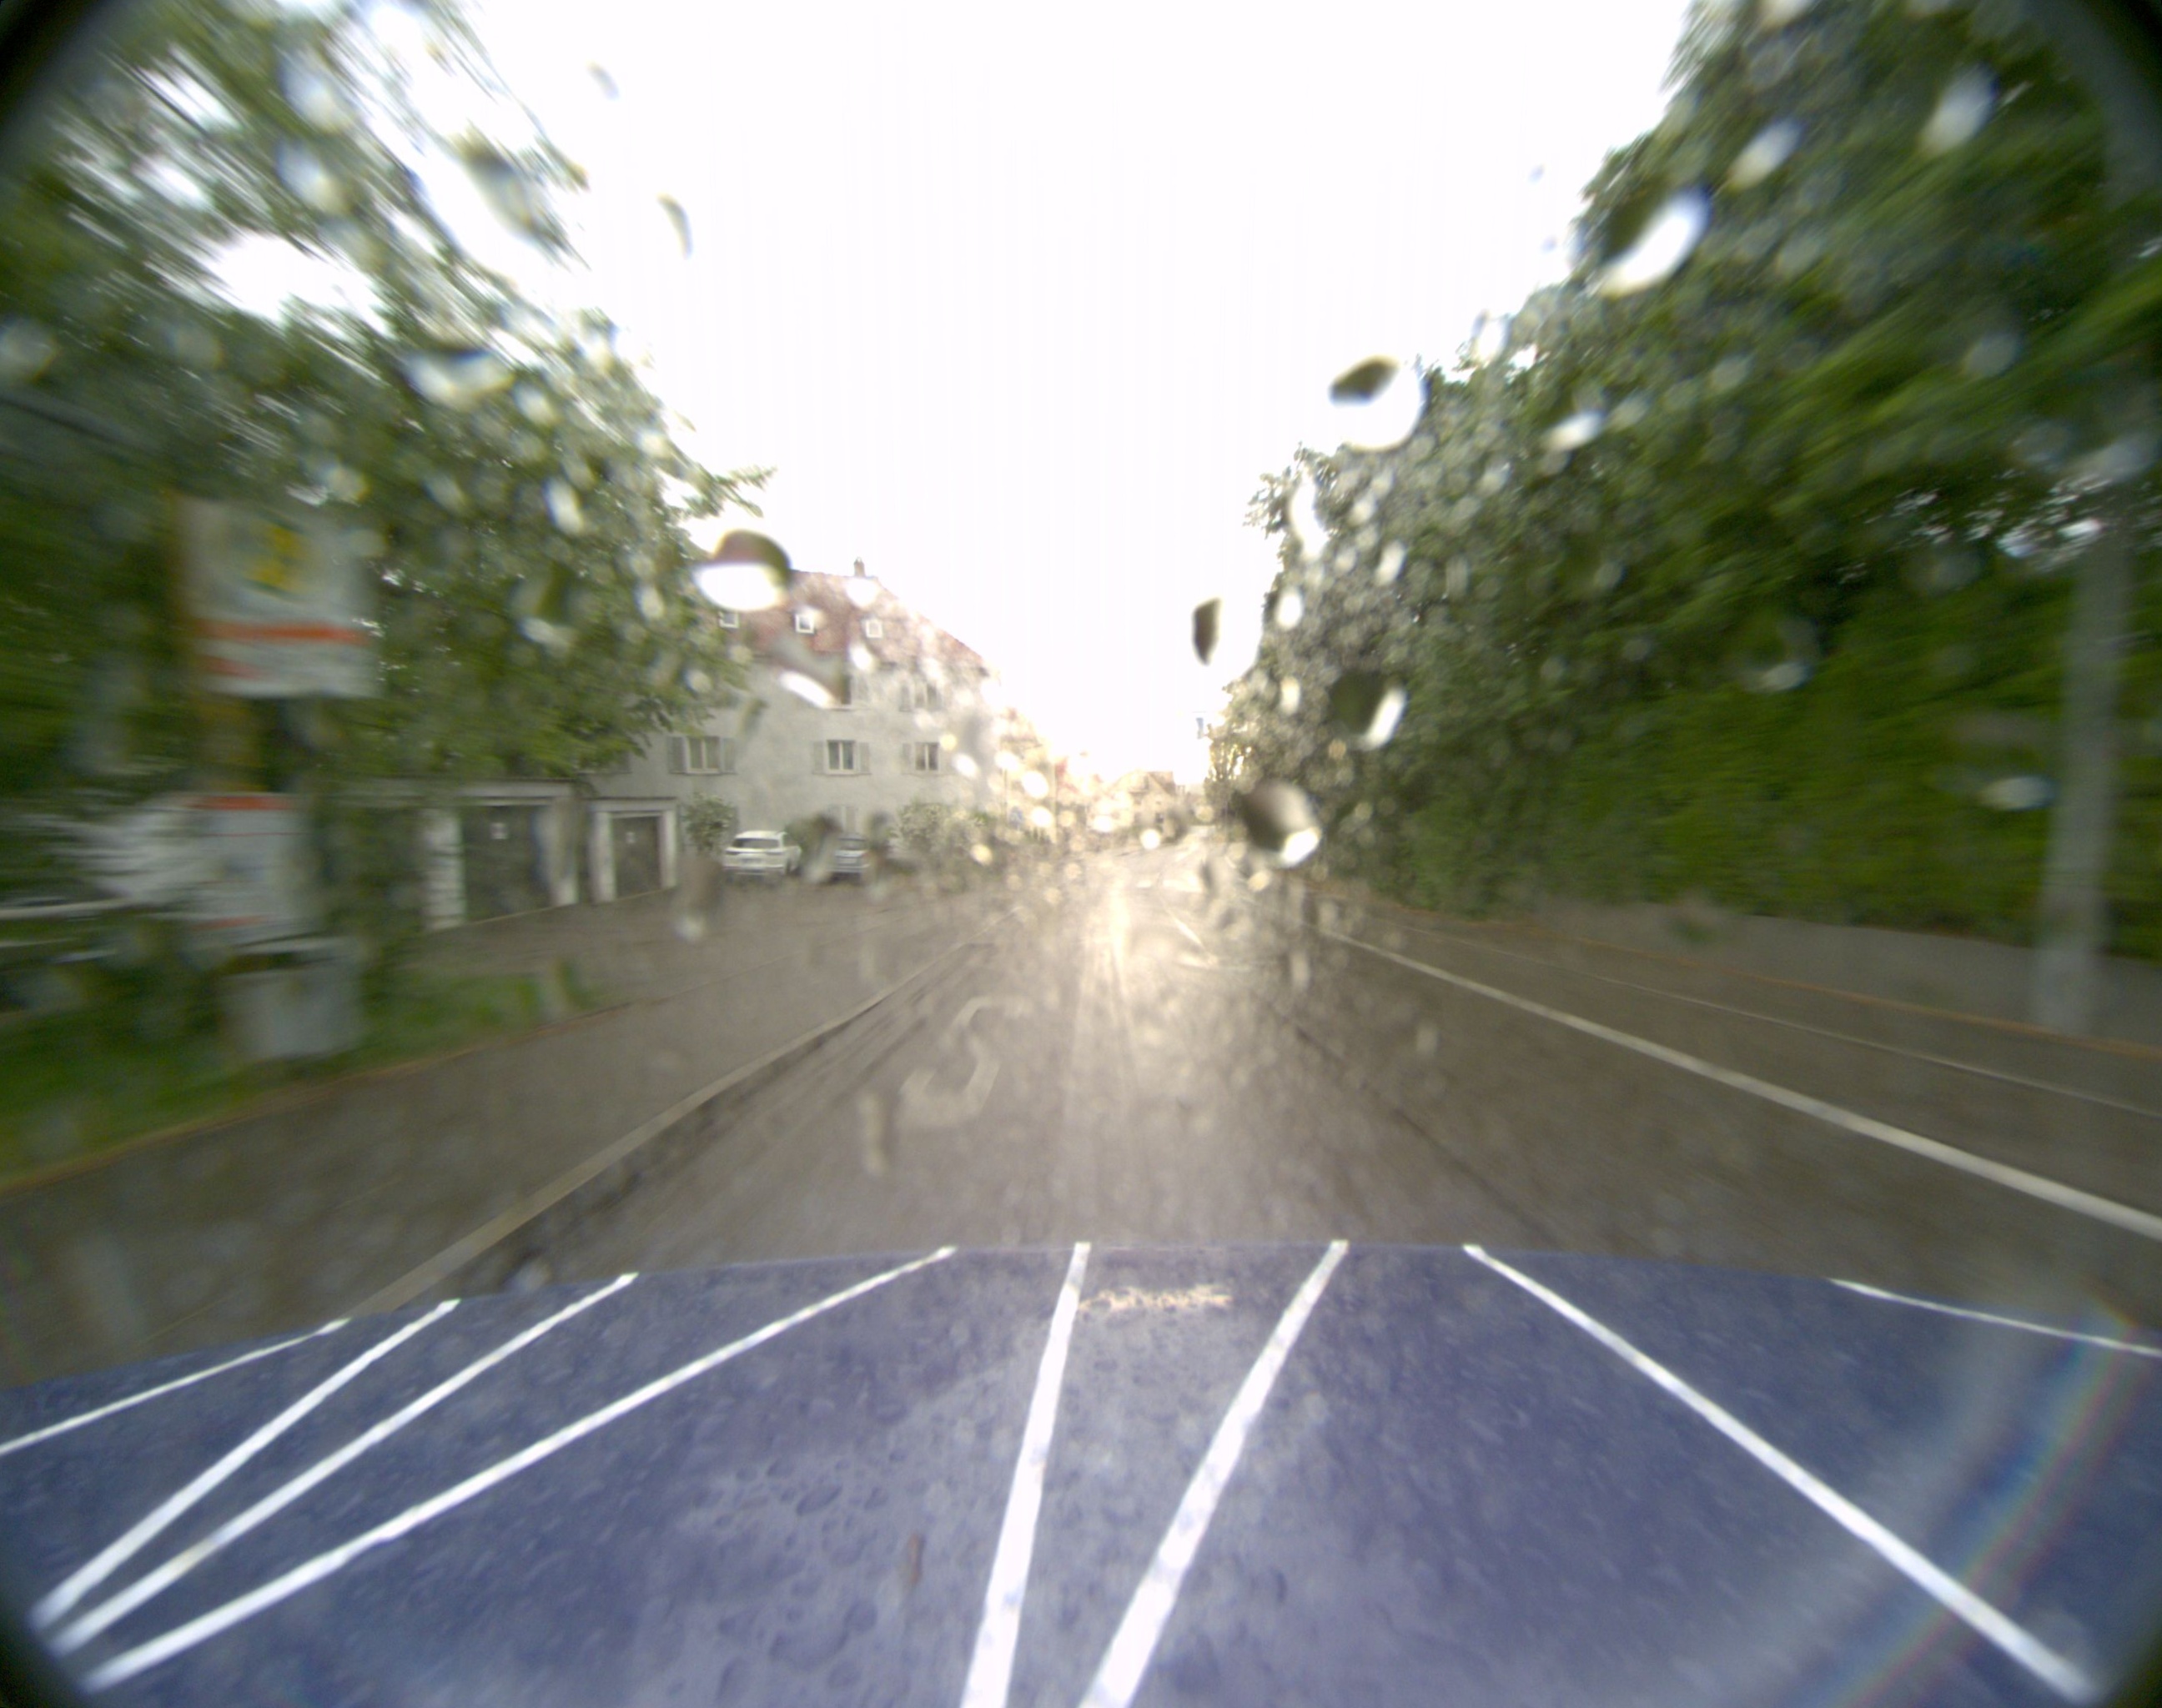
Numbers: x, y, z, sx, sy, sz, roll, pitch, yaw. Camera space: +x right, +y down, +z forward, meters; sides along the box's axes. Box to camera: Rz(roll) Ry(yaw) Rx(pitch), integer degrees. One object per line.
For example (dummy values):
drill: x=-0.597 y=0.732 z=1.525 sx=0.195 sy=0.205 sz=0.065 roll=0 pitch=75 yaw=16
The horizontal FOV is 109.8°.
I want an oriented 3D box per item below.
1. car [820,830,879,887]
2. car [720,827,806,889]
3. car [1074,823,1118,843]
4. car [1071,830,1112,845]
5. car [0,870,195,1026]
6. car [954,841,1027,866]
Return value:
car: x=-7.808 y=0.086 z=25.598 sx=1.726 sy=1.555 sz=3.786 roll=2 pitch=4 yaw=-17
car: x=-10.068 y=0.054 z=24.388 sx=1.797 sy=1.585 sz=4.248 roll=2 pitch=4 yaw=-13
car: x=1.493 y=-2.127 z=76.138 sx=3.938 sy=1.772 sz=1.767 roll=1 pitch=4 yaw=-16
car: x=1.029 y=-1.576 z=73.665 sx=3.528 sy=1.332 sz=1.684 roll=1 pitch=4 yaw=-18
car: x=-12.620 y=0.968 z=8.282 sx=3.709 sy=1.424 sz=1.795 roll=0 pitch=4 yaw=1
car: x=-5.598 y=-0.048 z=47.008 sx=4.084 sy=1.400 sz=1.726 roll=-1 pitch=2 yaw=22
